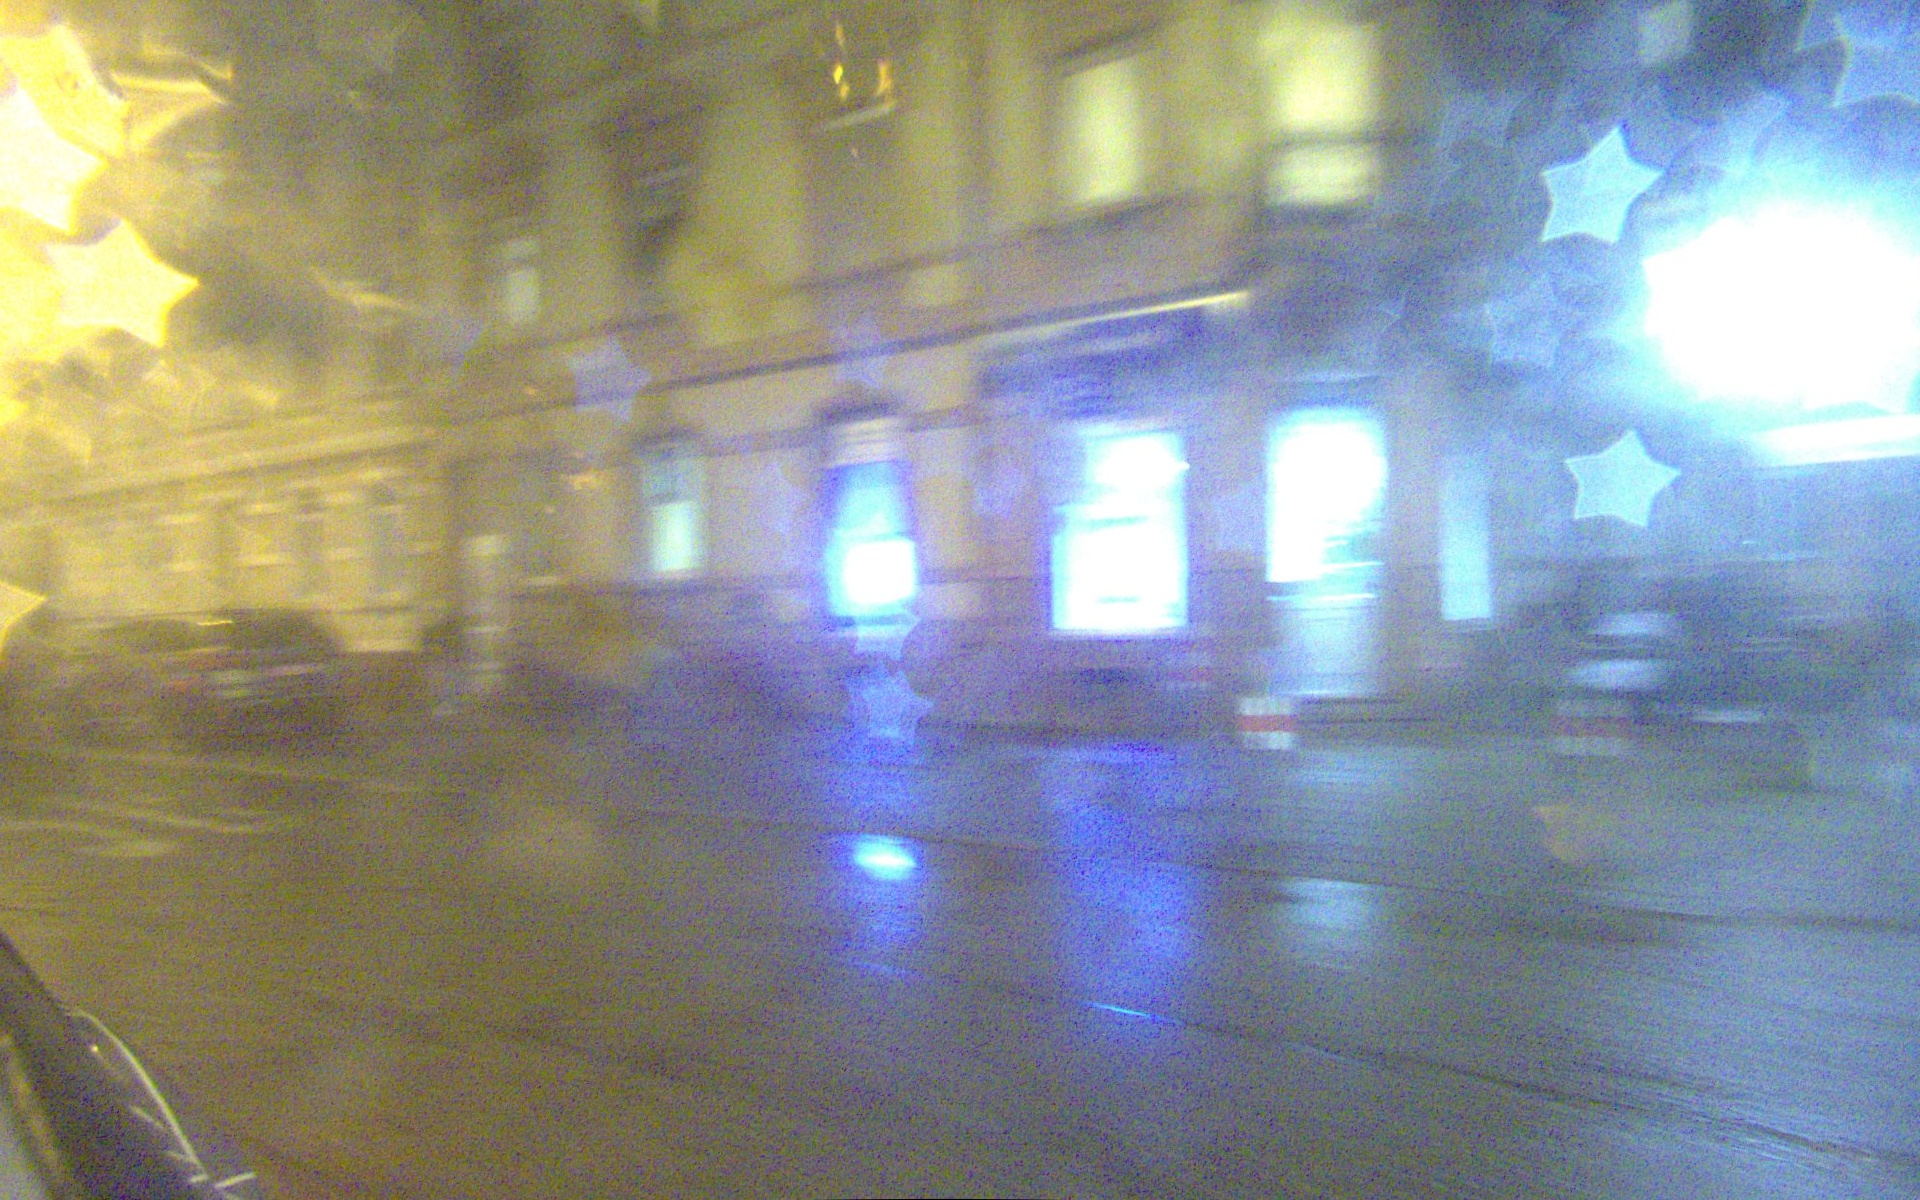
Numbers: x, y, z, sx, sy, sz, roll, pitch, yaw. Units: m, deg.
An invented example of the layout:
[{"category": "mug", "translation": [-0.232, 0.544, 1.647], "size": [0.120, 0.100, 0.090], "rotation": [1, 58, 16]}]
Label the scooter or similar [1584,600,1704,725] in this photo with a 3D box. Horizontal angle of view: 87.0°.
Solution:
[{"category": "scooter or similar", "translation": [6.796, 0.595, 10.065], "size": [0.917, 1.134, 0.574], "rotation": [-3, 2, -24]}]

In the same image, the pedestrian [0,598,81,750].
[{"category": "pedestrian", "translation": [-12.835, 0.996, 13.993], "size": [0.655, 1.988, 0.762], "rotation": [-1, 2, 30]}]

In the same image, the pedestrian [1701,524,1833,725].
[{"category": "pedestrian", "translation": [7.821, 0.205, 9.813], "size": [0.931, 1.834, 0.696], "rotation": [-3, 2, -30]}]

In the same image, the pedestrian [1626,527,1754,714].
[{"category": "pedestrian", "translation": [7.583, 0.187, 10.524], "size": [0.930, 1.834, 0.696], "rotation": [-3, 2, -25]}]

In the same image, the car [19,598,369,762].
[{"category": "car", "translation": [-9.739, 0.916, 12.799], "size": [4.574, 1.730, 1.821], "rotation": [-2, 0, 29]}]

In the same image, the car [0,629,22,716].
[{"category": "car", "translation": [-18.964, 1.324, 18.134], "size": [4.574, 1.497, 1.821], "rotation": [-2, 0, 29]}]

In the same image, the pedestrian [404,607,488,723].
[{"category": "pedestrian", "translation": [-7.262, 0.908, 14.327], "size": [0.755, 1.563, 0.655], "rotation": [-2, 2, 14]}]
